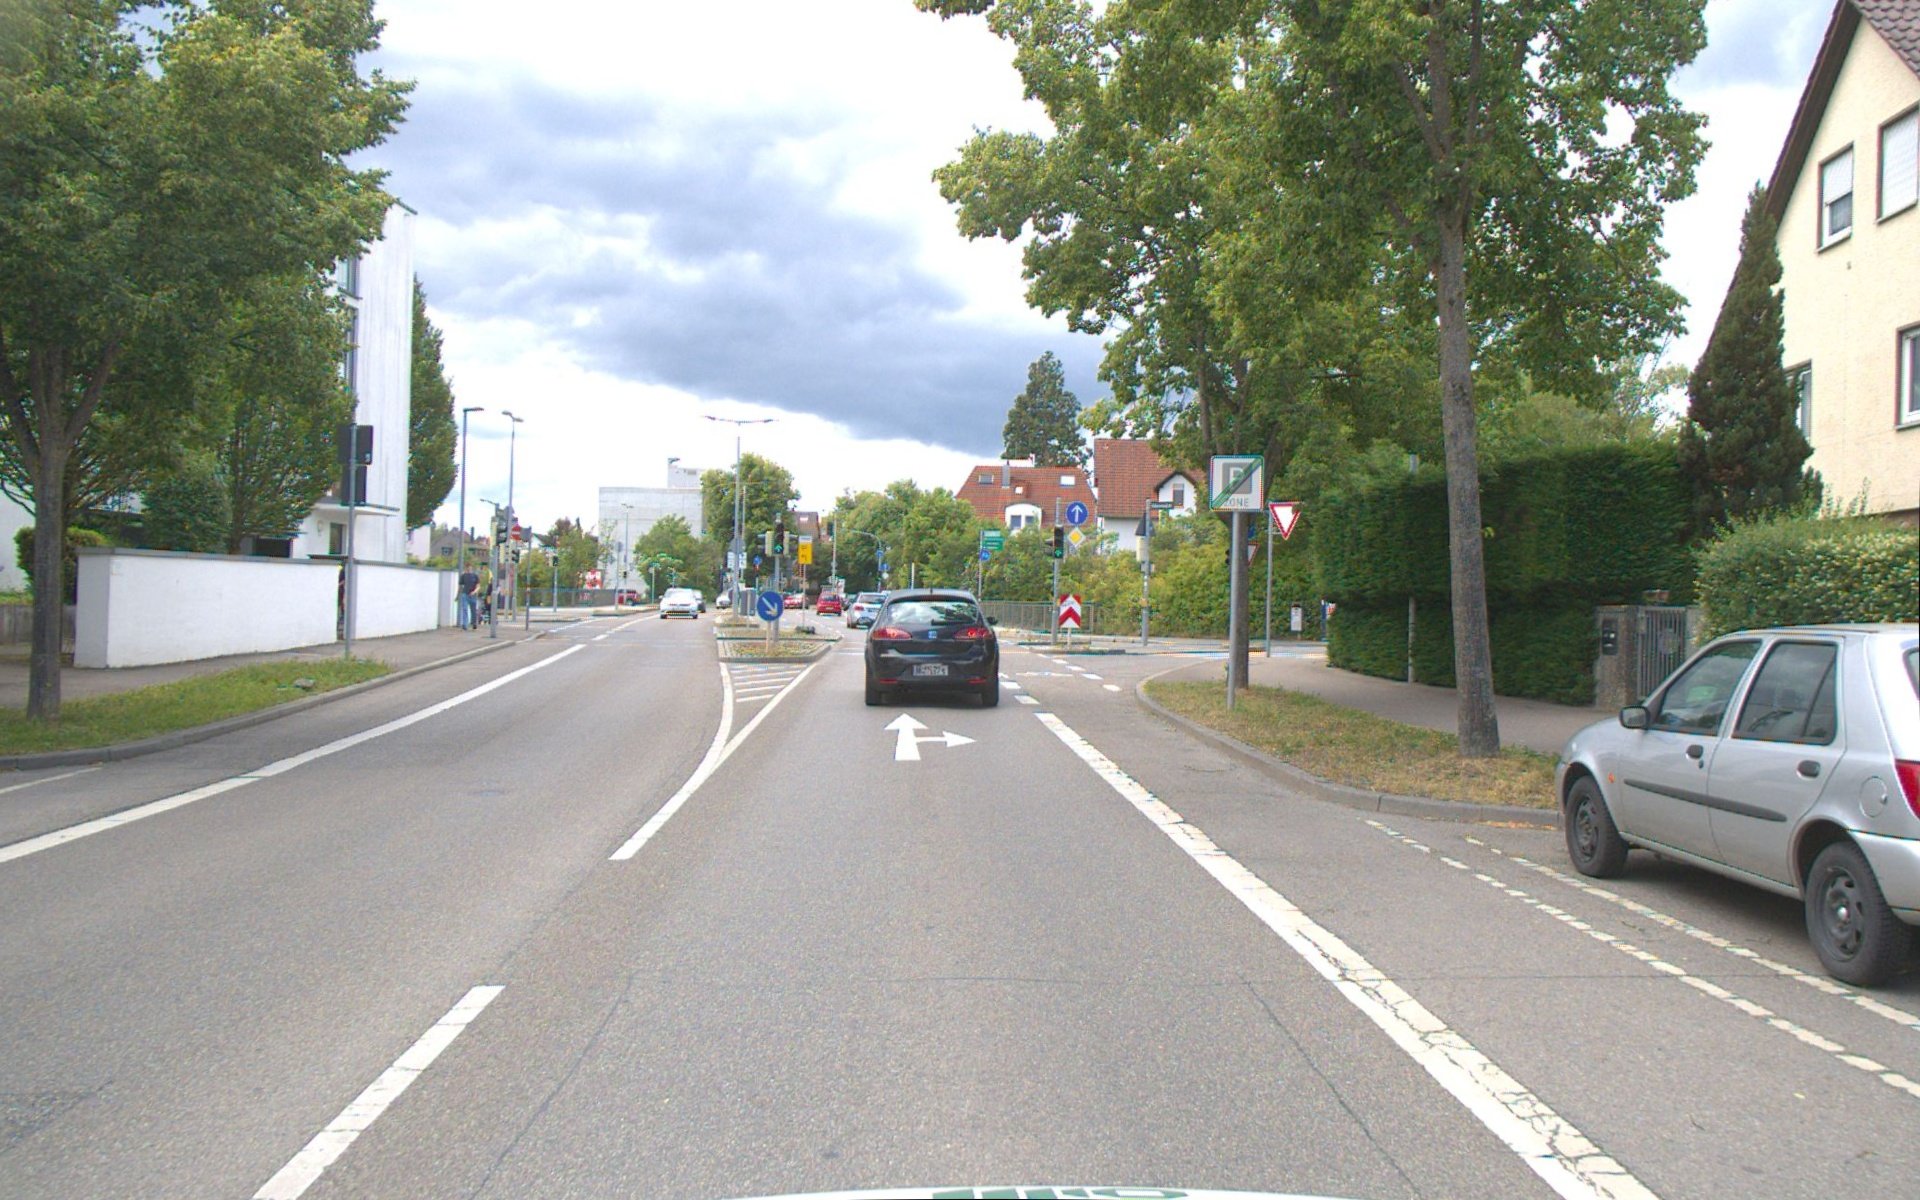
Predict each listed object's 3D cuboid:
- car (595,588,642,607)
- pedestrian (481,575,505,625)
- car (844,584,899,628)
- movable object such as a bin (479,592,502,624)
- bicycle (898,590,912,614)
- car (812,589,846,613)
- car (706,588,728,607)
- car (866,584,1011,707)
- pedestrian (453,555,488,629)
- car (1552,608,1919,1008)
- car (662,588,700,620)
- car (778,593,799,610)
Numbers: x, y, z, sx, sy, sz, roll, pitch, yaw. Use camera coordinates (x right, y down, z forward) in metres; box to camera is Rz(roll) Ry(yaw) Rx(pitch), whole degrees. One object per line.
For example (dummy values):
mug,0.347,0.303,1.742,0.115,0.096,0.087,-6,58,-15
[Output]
car,-29.695,-0.210,143.885,3.921,1.579,1.742,1,0,-16
pedestrian,-15.209,-0.009,53.894,0.522,1.569,0.730,6,-1,-10
car,-3.661,0.222,67.912,1.785,1.729,4.244,1,0,-9
movable object such as a bin,-15.061,0.262,53.079,0.488,0.976,0.984,5,-1,-9
bicycle,-3.619,0.110,108.393,0.873,1.537,2.782,1,0,-2
car,-8.678,0.070,109.162,1.906,1.507,4.244,1,0,-9
car,-18.597,-0.191,126.412,1.612,1.433,3.811,2,0,-9
car,-0.358,0.539,21.887,1.724,1.474,3.711,1,0,-4
pedestrian,-13.431,-0.207,45.391,0.636,1.982,0.870,4,-1,-7
car,4.168,0.761,7.608,1.526,1.374,3.539,0,1,-2
car,-13.476,0.182,80.052,1.765,1.469,3.940,1,0,-9
car,-15.569,0.122,150.254,1.688,1.473,4.058,2,0,-9
